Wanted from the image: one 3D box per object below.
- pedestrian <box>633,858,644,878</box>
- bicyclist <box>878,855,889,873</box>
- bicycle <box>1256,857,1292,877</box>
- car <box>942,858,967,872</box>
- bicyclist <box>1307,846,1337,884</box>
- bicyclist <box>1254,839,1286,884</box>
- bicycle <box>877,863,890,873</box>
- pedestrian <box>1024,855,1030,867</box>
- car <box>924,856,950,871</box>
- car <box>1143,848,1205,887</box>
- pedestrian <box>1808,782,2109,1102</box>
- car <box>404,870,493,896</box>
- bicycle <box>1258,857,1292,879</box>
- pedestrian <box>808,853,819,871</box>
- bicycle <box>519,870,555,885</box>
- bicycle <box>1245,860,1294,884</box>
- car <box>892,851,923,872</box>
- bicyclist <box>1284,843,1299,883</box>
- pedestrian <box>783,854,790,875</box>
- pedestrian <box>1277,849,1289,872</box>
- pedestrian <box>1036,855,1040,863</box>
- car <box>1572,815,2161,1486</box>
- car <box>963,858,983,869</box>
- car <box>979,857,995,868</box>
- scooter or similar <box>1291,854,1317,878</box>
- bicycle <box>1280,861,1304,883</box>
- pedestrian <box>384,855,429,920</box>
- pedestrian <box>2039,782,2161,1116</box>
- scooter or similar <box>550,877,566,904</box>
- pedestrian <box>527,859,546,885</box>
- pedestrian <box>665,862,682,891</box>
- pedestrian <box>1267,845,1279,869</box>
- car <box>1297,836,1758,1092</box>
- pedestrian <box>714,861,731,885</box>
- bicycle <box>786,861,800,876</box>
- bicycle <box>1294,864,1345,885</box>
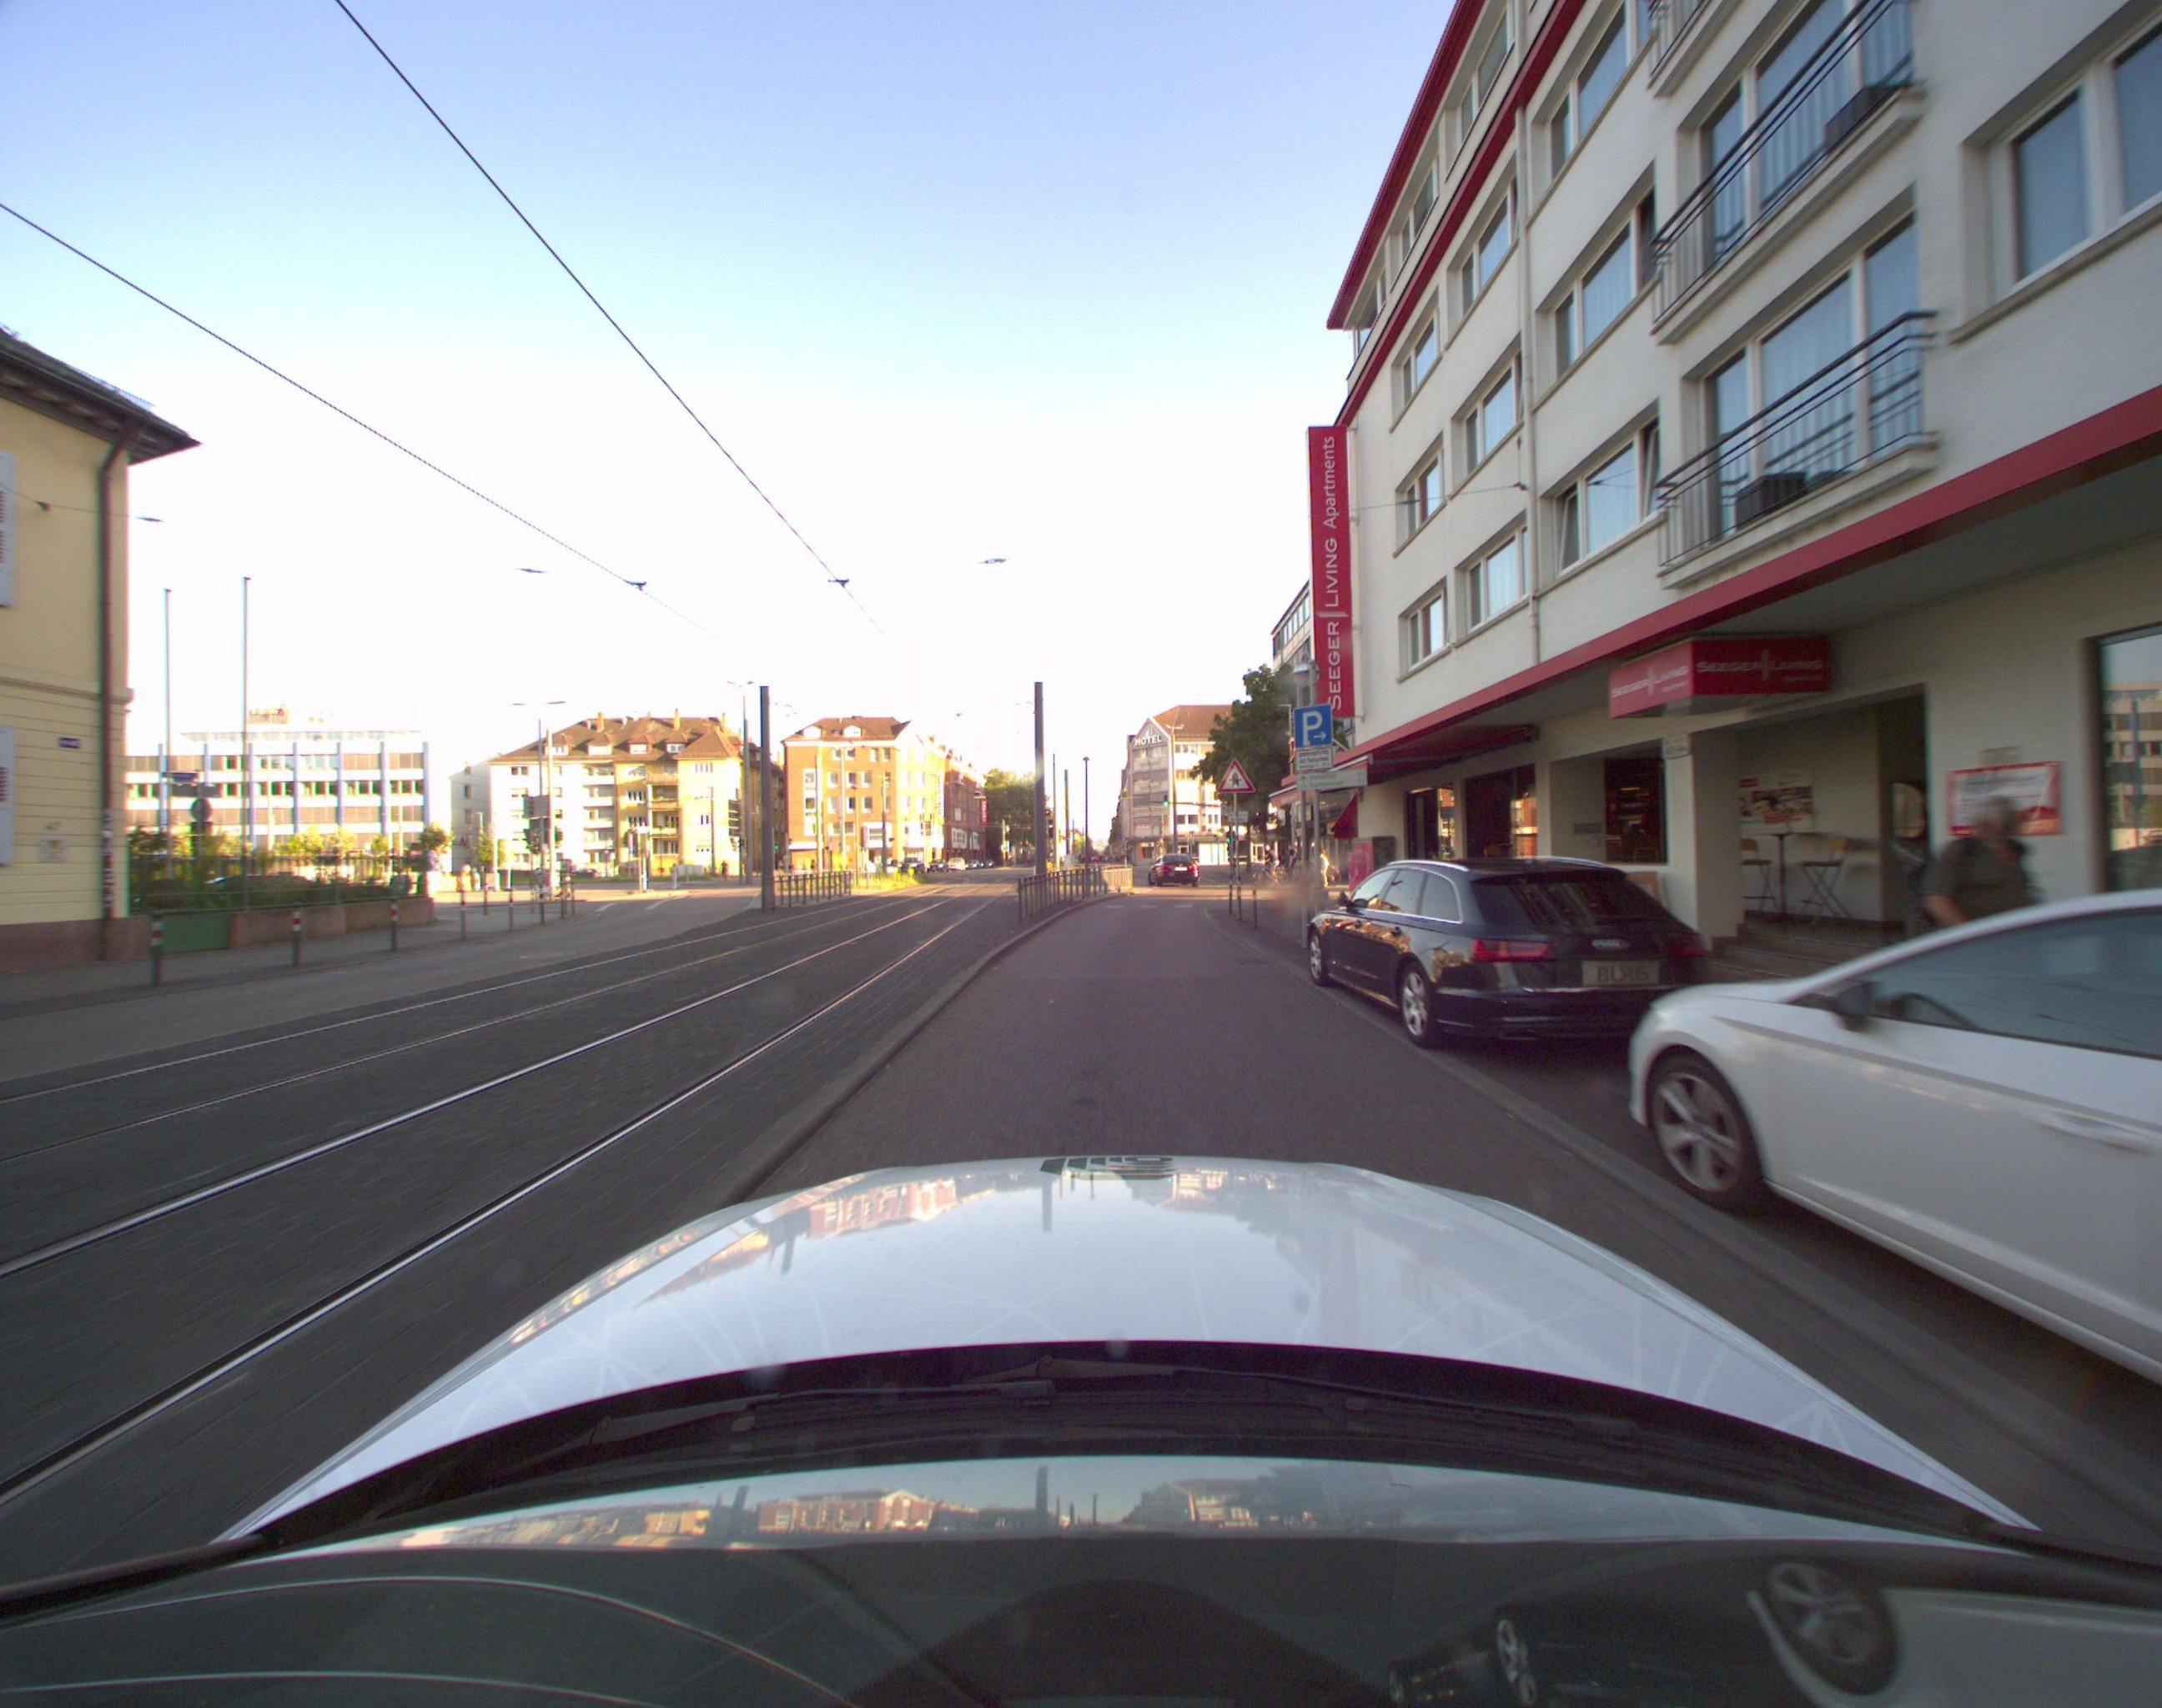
[{"bbox_3d":[-41.975,1.359,77.258,0.720,1.868,0.880,-1,0,-18],"label":"pedestrian"},{"bbox_3d":[-19.037,0.957,78.573,0.658,1.688,0.982,-2,0,8],"label":"bicyclist"},{"bbox_3d":[11.107,0.748,46.849,1.982,1.110,0.671,-1,0,14],"label":"bicycle"},{"bbox_3d":[-15.495,1.290,99.963,1.983,1.585,4.120,-2,0,6],"label":"car"},{"bbox_3d":[10.356,0.475,34.986,1.101,1.623,0.845,-1,0,25],"label":"bicyclist"},{"bbox_3d":[8.372,0.327,36.092,0.844,1.917,1.103,-1,0,-35],"label":"bicyclist"},{"bbox_3d":[-19.038,1.344,78.478,0.662,1.008,1.626,-2,0,8],"label":"bicycle"},{"bbox_3d":[-9.374,1.245,141.993,0.984,2.014,0.726,0,-1,0],"label":"pedestrian"},{"bbox_3d":[-15.392,1.006,87.304,1.988,1.585,4.585,-2,0,-1],"label":"car"},{"bbox_3d":[4.087,0.575,36.521,1.990,1.585,3.993,-2,0,-5],"label":"car"},{"bbox_3d":[5.200,0.484,4.901,0.824,1.718,0.843,-3,0,2],"label":"pedestrian"},{"bbox_3d":[-45.130,2.038,58.246,4.568,1.618,1.986,-1,0,-21],"label":"car"},{"bbox_3d":[11.378,0.799,47.797,1.891,1.235,0.670,-1,0,12],"label":"bicycle"},{"bbox_3d":[-27.963,0.821,85.228,0.939,1.868,0.836,1,0,-8],"label":"pedestrian"},{"bbox_3d":[-40.668,1.727,60.924,2.003,1.060,0.892,-1,0,-10],"label":"bicycle"},{"bbox_3d":[8.337,0.772,36.150,0.844,1.020,2.055,-1,0,-35],"label":"bicycle"},{"bbox_3d":[-16.347,0.671,76.925,1.988,1.901,4.809,-2,0,-1],"label":"car"},{"bbox_3d":[9.579,0.403,37.127,0.464,1.830,0.558,-1,0,-7],"label":"bicyclist"},{"bbox_3d":[-26.670,0.979,73.765,0.501,1.868,0.562,1,0,-4],"label":"pedestrian"},{"bbox_3d":[14.441,0.456,58.164,0.719,1.667,0.672,-1,-1,5],"label":"pedestrian"},{"bbox_3d":[-8.804,1.010,166.869,0.720,1.681,0.992,-1,0,4],"label":"pedestrian"},{"bbox_3d":[3.338,0.648,2.090,1.778,1.512,4.054,-3,0,2],"label":"car"},{"bbox_3d":[-15.734,1.390,118.769,1.660,1.448,4.211,-1,0,8],"label":"car"},{"bbox_3d":[-15.282,1.350,132.703,1.988,1.585,4.477,-2,0,-1],"label":"car"},{"bbox_3d":[11.604,0.648,42.395,1.262,1.235,0.340,-1,0,43],"label":"scooter or similar"},{"bbox_3d":[9.596,0.819,37.078,0.464,0.970,1.796,-1,0,-6],"label":"bicycle"},{"bbox_3d":[-19.897,0.977,24.021,0.720,1.893,0.770,-1,0,25],"label":"pedestrian"},{"bbox_3d":[5.970,0.484,4.300,0.726,1.741,0.863,-3,0,2],"label":"pedestrian"},{"bbox_3d":[-25.072,1.727,39.006,0.520,1.272,1.242,-1,0,-38],"label":"scooter or similar"},{"bbox_3d":[-40.707,1.302,60.923,0.843,1.910,0.892,-1,0,-10],"label":"pedestrian"},{"bbox_3d":[-27.406,1.499,54.756,0.885,1.868,0.970,-1,0,-19],"label":"pedestrian"},{"bbox_3d":[13.659,0.239,57.882,0.681,1.667,0.672,-1,-1,5],"label":"pedestrian"},{"bbox_3d":[3.395,0.687,7.416,1.728,1.512,4.688,-3,0,2],"label":"car"},{"bbox_3d":[-29.714,1.553,67.462,1.099,1.944,1.019,-1,0,-18],"label":"pedestrian"},{"bbox_3d":[-26.107,1.325,73.917,0.616,1.325,2.014,1,0,-2],"label":"bicycle"},{"bbox_3d":[10.262,0.881,35.030,1.988,0.881,0.845,-1,-1,25],"label":"bicycle"}]
